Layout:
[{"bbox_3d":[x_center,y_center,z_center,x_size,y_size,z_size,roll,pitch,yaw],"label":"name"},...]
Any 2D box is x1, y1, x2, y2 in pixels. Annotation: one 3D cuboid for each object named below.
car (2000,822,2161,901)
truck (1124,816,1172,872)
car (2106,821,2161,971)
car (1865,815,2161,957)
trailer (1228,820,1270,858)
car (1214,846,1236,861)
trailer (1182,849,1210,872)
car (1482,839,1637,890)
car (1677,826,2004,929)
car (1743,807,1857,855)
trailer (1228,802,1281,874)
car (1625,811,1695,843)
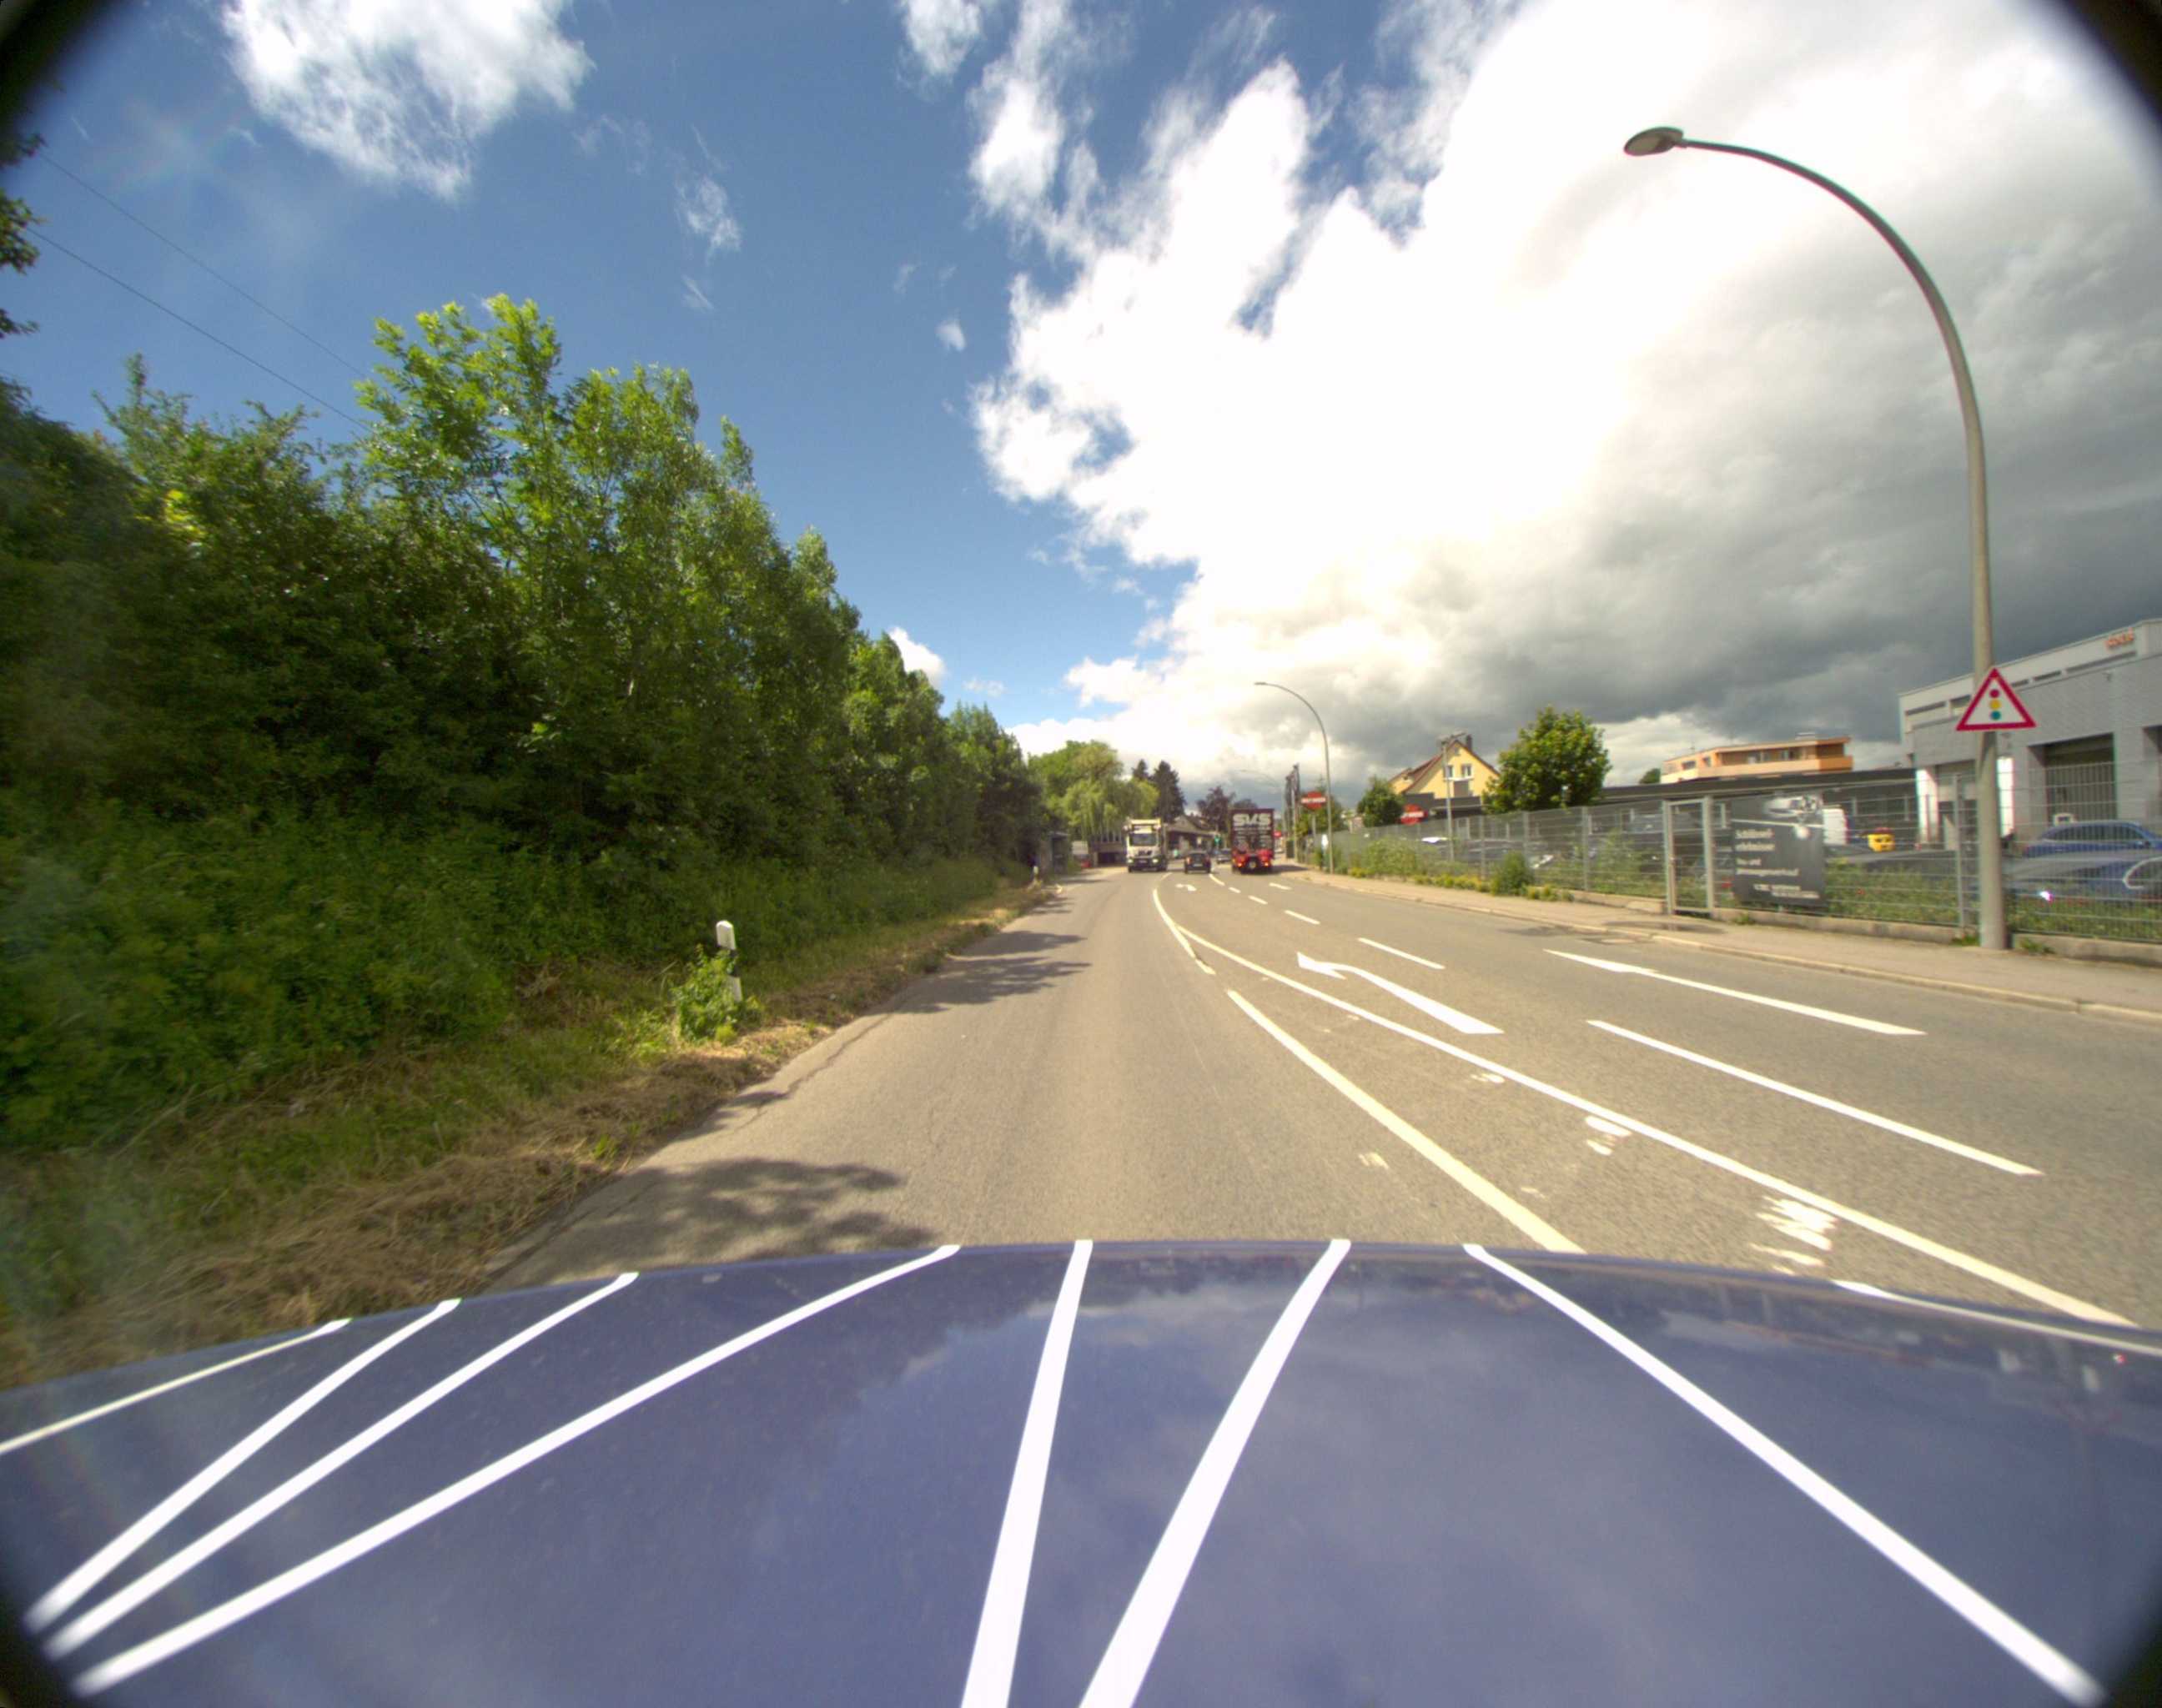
[{"bbox_3d":[23.075,0.109,16.428,1.937,1.538,4.089,-3,1,12],"label":"car"},{"bbox_3d":[5.246,-0.756,57.837,2.663,3.789,9.821,-3,1,10],"label":"truck"},{"bbox_3d":[14.120,0.394,7.990,3.903,1.691,1.792,-3,1,6],"label":"car"},{"bbox_3d":[14.315,0.363,10.671,4.200,1.691,2.174,-3,1,4],"label":"car"},{"bbox_3d":[20.805,-1.886,93.342,2.774,4.121,15.370,-2,1,21],"label":"trailer"},{"bbox_3d":[14.079,-0.056,74.414,1.843,1.455,4.255,-1,1,8],"label":"car"},{"bbox_3d":[7.535,0.393,49.560,1.650,1.415,4.003,-1,0,10],"label":"trailer"},{"bbox_3d":[15.325,0.319,24.456,3.862,1.385,1.687,-3,1,2],"label":"car"},{"bbox_3d":[14.608,0.435,14.871,4.199,1.691,1.926,-3,1,7],"label":"car"},{"bbox_3d":[31.776,-1.012,33.775,1.781,1.889,4.736,-3,1,18],"label":"car"},{"bbox_3d":[11.466,-1.041,51.192,2.804,4.029,15.567,-3,1,11],"label":"trailer"},{"bbox_3d":[31.884,-1.463,41.981,1.724,1.596,4.155,-3,1,17],"label":"car"}]
